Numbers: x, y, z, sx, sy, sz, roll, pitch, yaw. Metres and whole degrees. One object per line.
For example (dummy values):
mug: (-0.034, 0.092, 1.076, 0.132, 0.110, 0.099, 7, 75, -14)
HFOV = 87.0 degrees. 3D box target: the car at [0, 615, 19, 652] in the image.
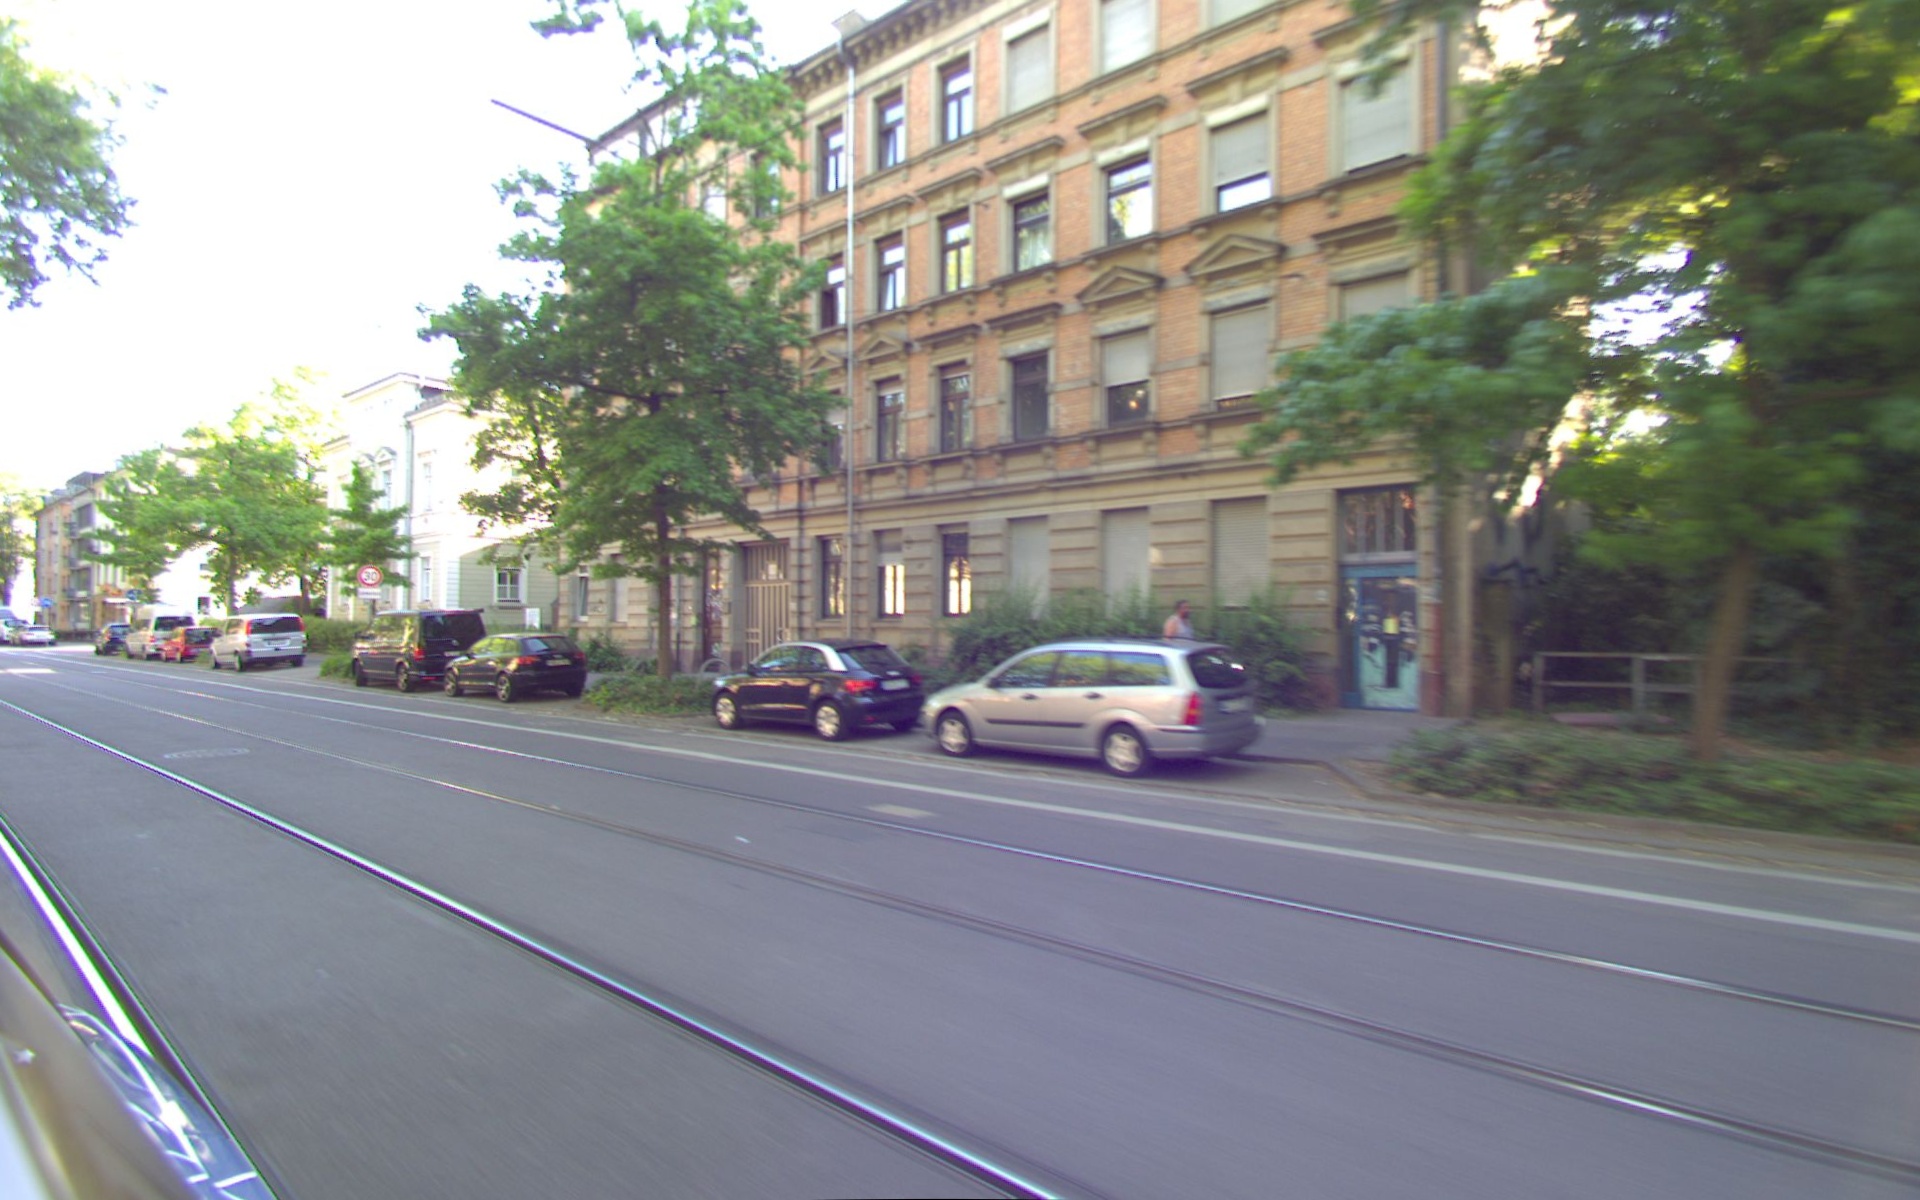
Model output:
car: (-76.064, 2.676, 79.994, 4.544, 2.767, 1.903, -2, 1, 42)

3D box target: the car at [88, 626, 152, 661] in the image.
car: (-42.747, 2.210, 51.480, 4.262, 1.703, 1.970, -2, -3, 44)

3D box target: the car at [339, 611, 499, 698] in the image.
car: (-14.001, 1.355, 26.078, 4.831, 2.029, 1.973, -1, -3, 40)

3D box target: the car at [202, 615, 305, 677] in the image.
car: (-24.731, 1.580, 35.353, 4.987, 2.004, 1.824, -2, -3, 42)

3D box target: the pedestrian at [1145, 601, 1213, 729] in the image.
pedestrian: (3.302, 0.957, 15.241, 0.728, 1.861, 0.734, -2, -1, 39)

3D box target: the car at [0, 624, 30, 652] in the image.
car: (-71.560, 2.850, 76.048, 4.937, 2.062, 1.903, -1, -2, 40)

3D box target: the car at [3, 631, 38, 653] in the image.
car: (-67.033, 2.951, 72.223, 2.882, 1.504, 1.554, -2, -2, 42)

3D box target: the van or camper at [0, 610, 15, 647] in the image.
van or camper: (-80.916, 2.446, 84.482, 5.989, 2.999, 2.392, -2, 1, 42)

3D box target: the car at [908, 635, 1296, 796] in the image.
car: (1.519, 1.223, 12.228, 4.537, 1.562, 1.680, -2, -2, 44)

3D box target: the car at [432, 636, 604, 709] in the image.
car: (-9.936, 1.553, 22.621, 4.267, 1.469, 1.834, -1, -3, 40)

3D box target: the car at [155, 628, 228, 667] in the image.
car: (-32.024, 1.969, 42.138, 3.705, 1.551, 1.667, -2, -3, 41)

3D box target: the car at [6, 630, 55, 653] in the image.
car: (-63.499, 2.825, 69.109, 4.935, 1.504, 1.754, -1, -2, 39)

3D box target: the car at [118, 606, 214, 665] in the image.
car: (-35.735, 1.585, 45.481, 5.339, 2.527, 2.281, -1, -3, 40)

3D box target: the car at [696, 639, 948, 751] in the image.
car: (-2.195, 1.352, 15.511, 3.947, 1.456, 1.641, -2, -2, 41)
